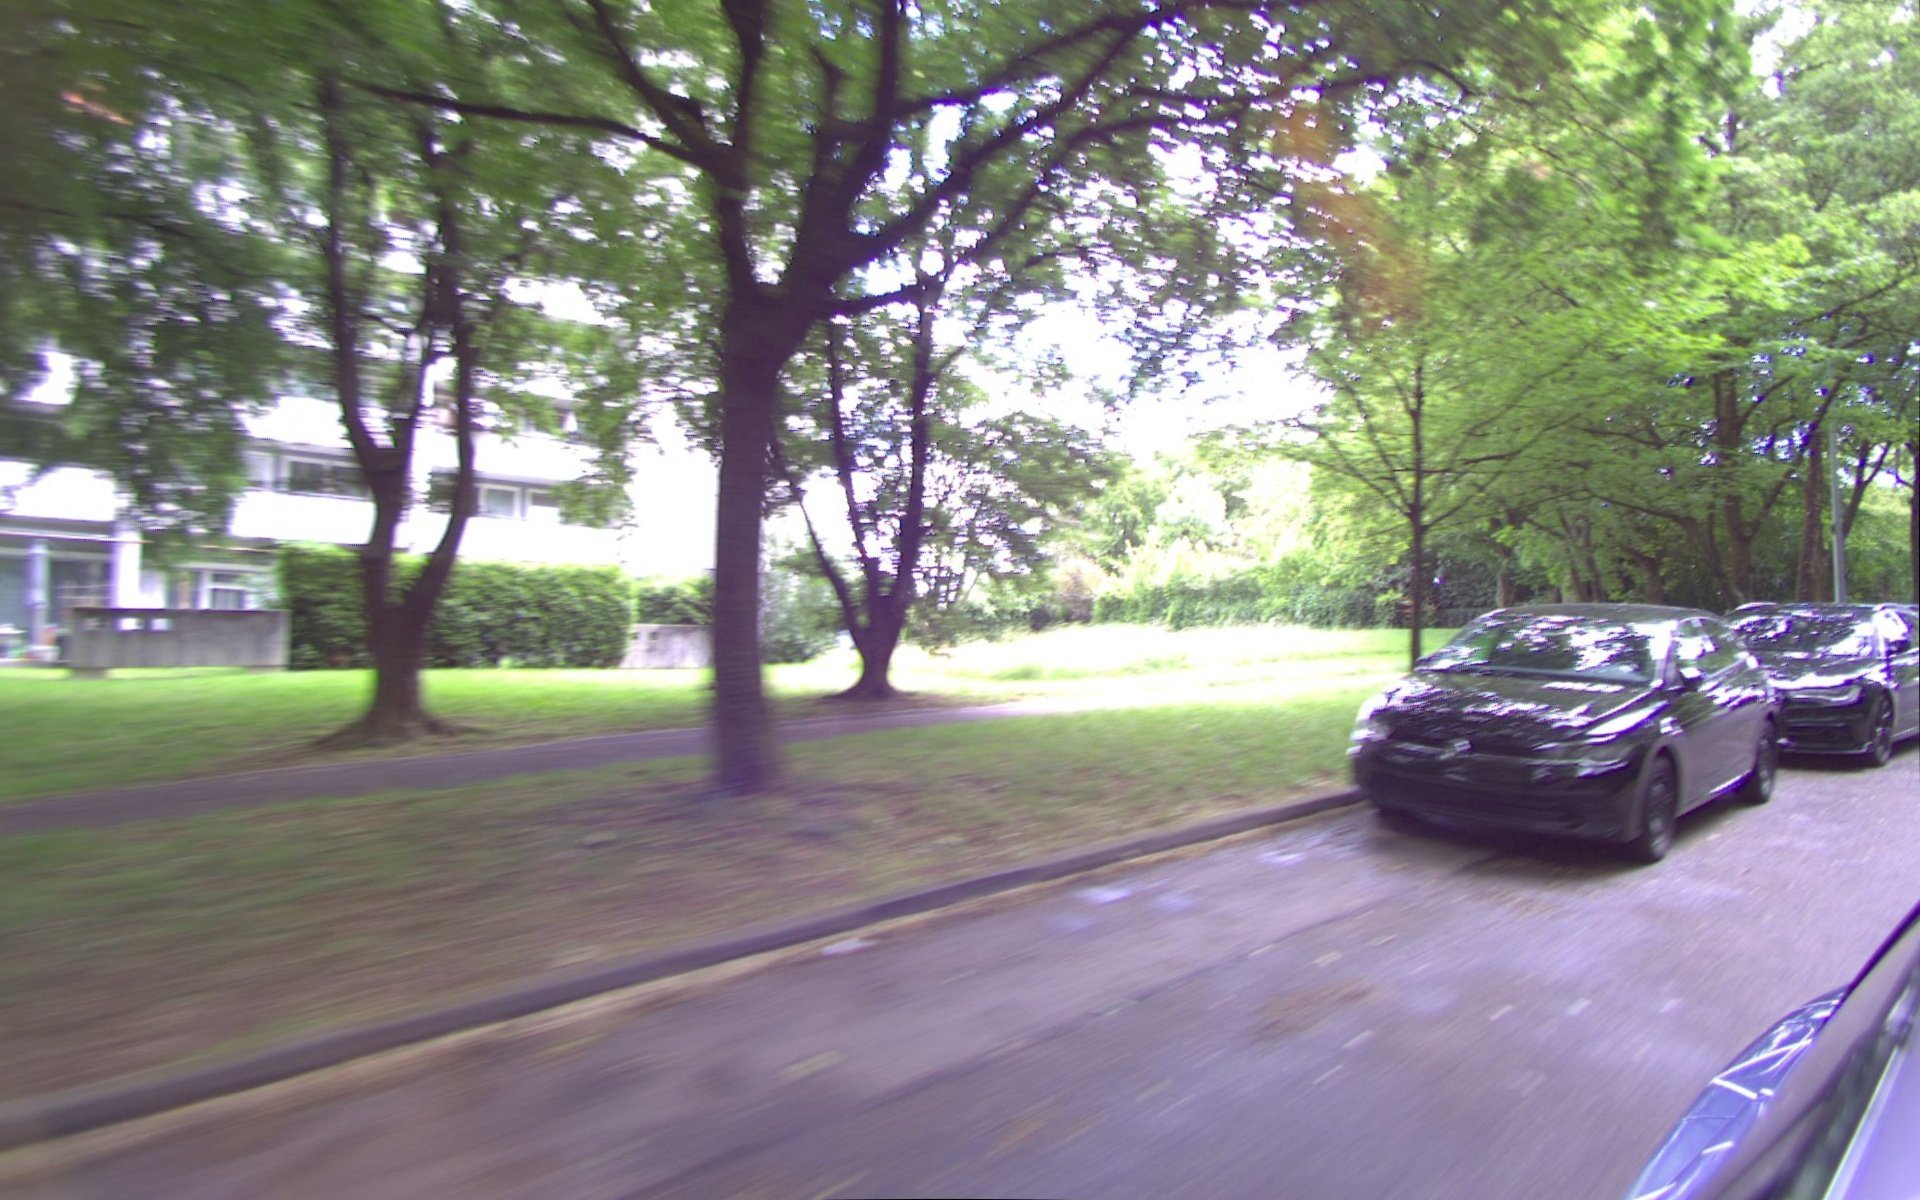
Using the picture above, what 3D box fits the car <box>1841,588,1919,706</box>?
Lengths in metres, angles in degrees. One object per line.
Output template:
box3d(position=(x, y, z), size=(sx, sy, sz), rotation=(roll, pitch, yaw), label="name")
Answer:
box3d(position=(13.692, 0.617, 14.024), size=(4.239, 1.484, 1.592), rotation=(1, -1, -40), label="car")

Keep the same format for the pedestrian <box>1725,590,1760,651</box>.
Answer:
box3d(position=(22.016, 0.570, 28.483), size=(0.857, 1.673, 0.581), rotation=(1, -2, -41), label="pedestrian")

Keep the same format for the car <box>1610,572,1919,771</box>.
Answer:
box3d(position=(8.835, 0.617, 10.453), size=(4.643, 1.632, 1.919), rotation=(0, -2, -35), label="car")

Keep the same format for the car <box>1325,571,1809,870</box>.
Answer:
box3d(position=(4.299, 0.628, 6.941), size=(3.829, 1.483, 1.685), rotation=(1, -2, -40), label="car")
